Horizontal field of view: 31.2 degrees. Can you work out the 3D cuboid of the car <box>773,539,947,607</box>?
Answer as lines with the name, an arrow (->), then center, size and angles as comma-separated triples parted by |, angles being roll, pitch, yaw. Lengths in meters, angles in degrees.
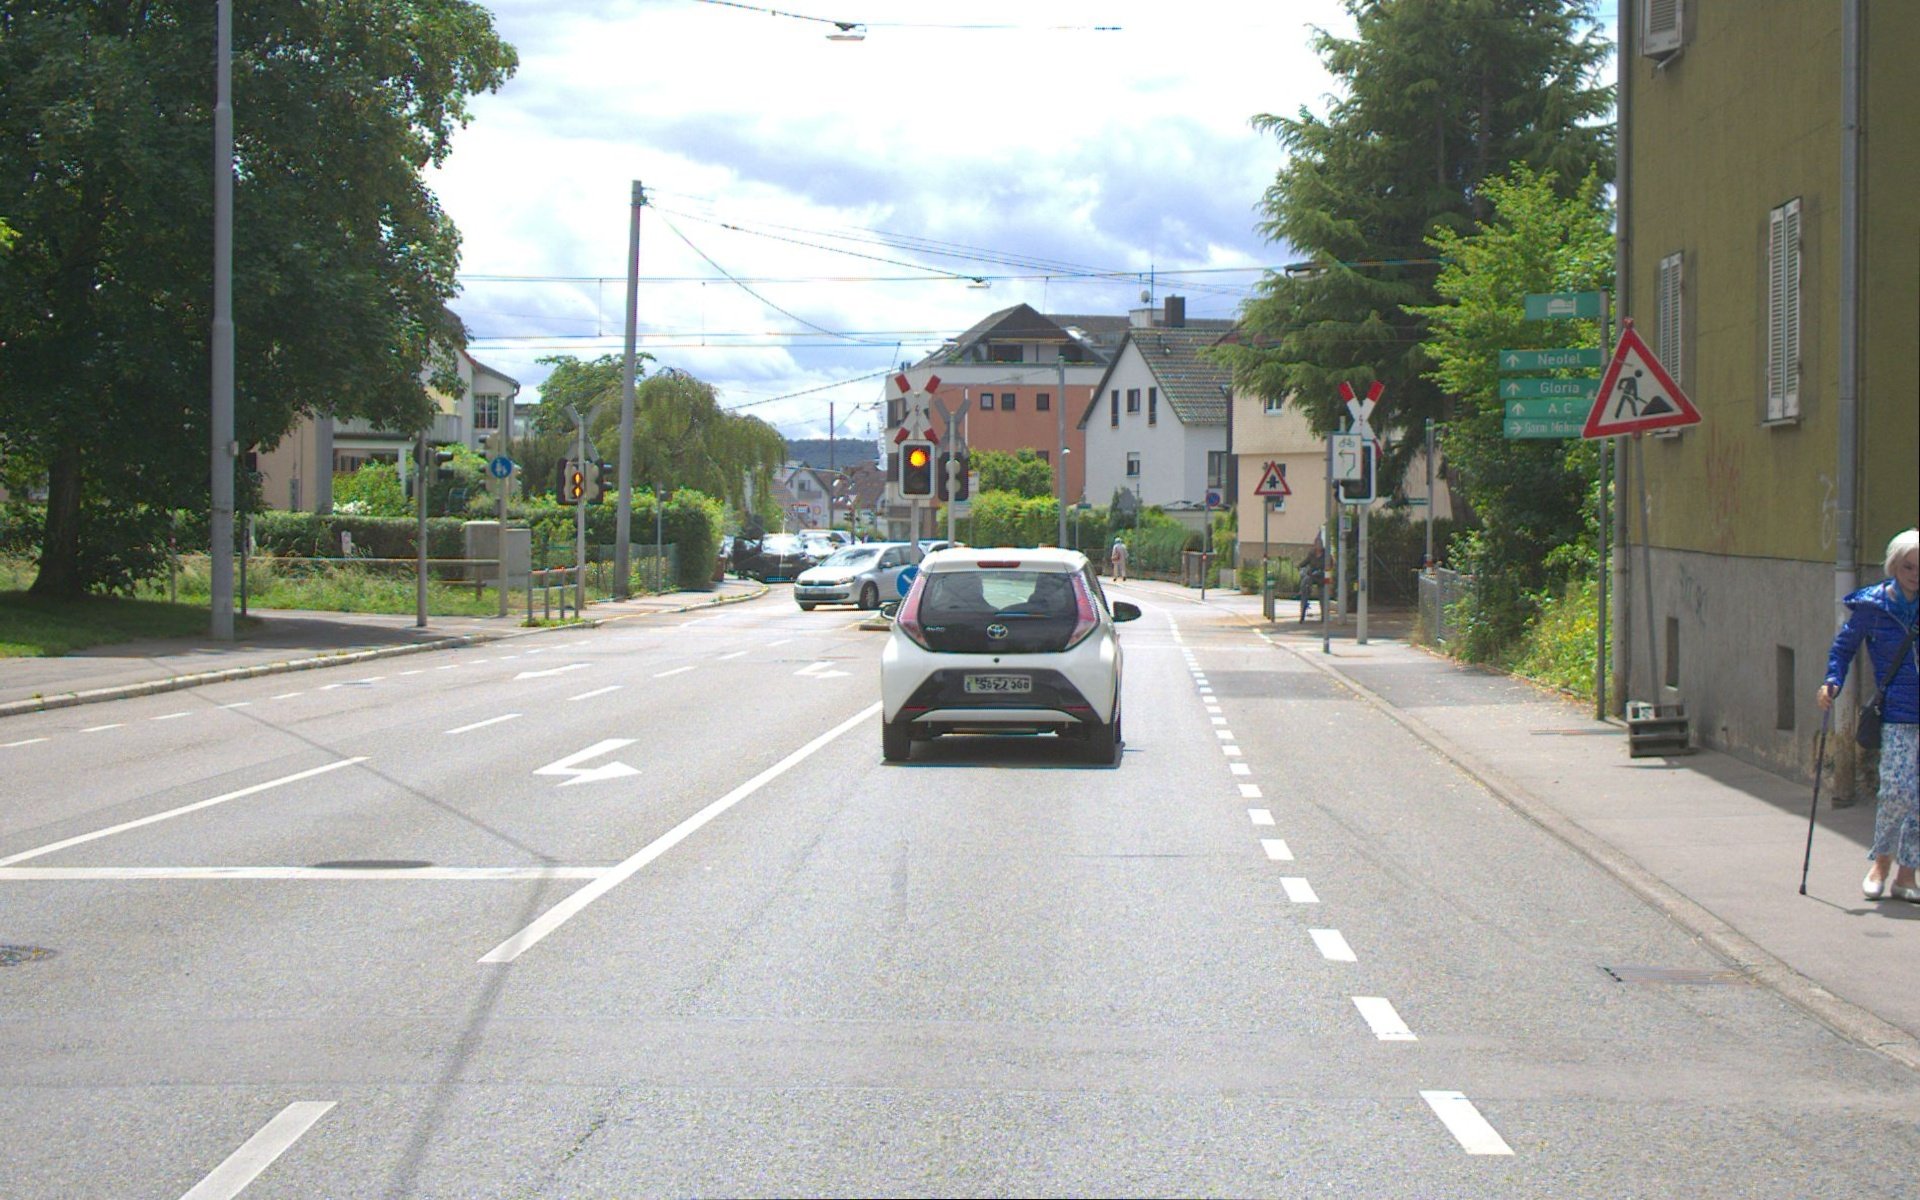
car -> -2.198, -0.584, 76.393 | 1.908, 1.436, 4.091 | 2, 1, 31

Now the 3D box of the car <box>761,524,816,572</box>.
car -> -6.380, -1.925, 127.772 | 1.993, 1.713, 4.001 | 2, 1, -3

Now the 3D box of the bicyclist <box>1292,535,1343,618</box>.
bicyclist -> 7.024, -0.467, 67.492 | 0.840, 1.548, 0.756 | -2, 3, -3

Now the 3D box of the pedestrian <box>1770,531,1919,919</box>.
pedestrian -> 3.945, 0.495, 14.413 | 0.823, 1.567, 0.988 | -1, 1, -2

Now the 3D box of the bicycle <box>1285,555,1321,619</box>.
bicycle -> 6.733, -0.266, 67.491 | 0.457, 1.168, 1.479 | -2, 3, -3

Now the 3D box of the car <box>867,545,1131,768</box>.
car -> 0.335, 0.350, 24.775 | 1.721, 1.437, 3.708 | 2, 1, 2
